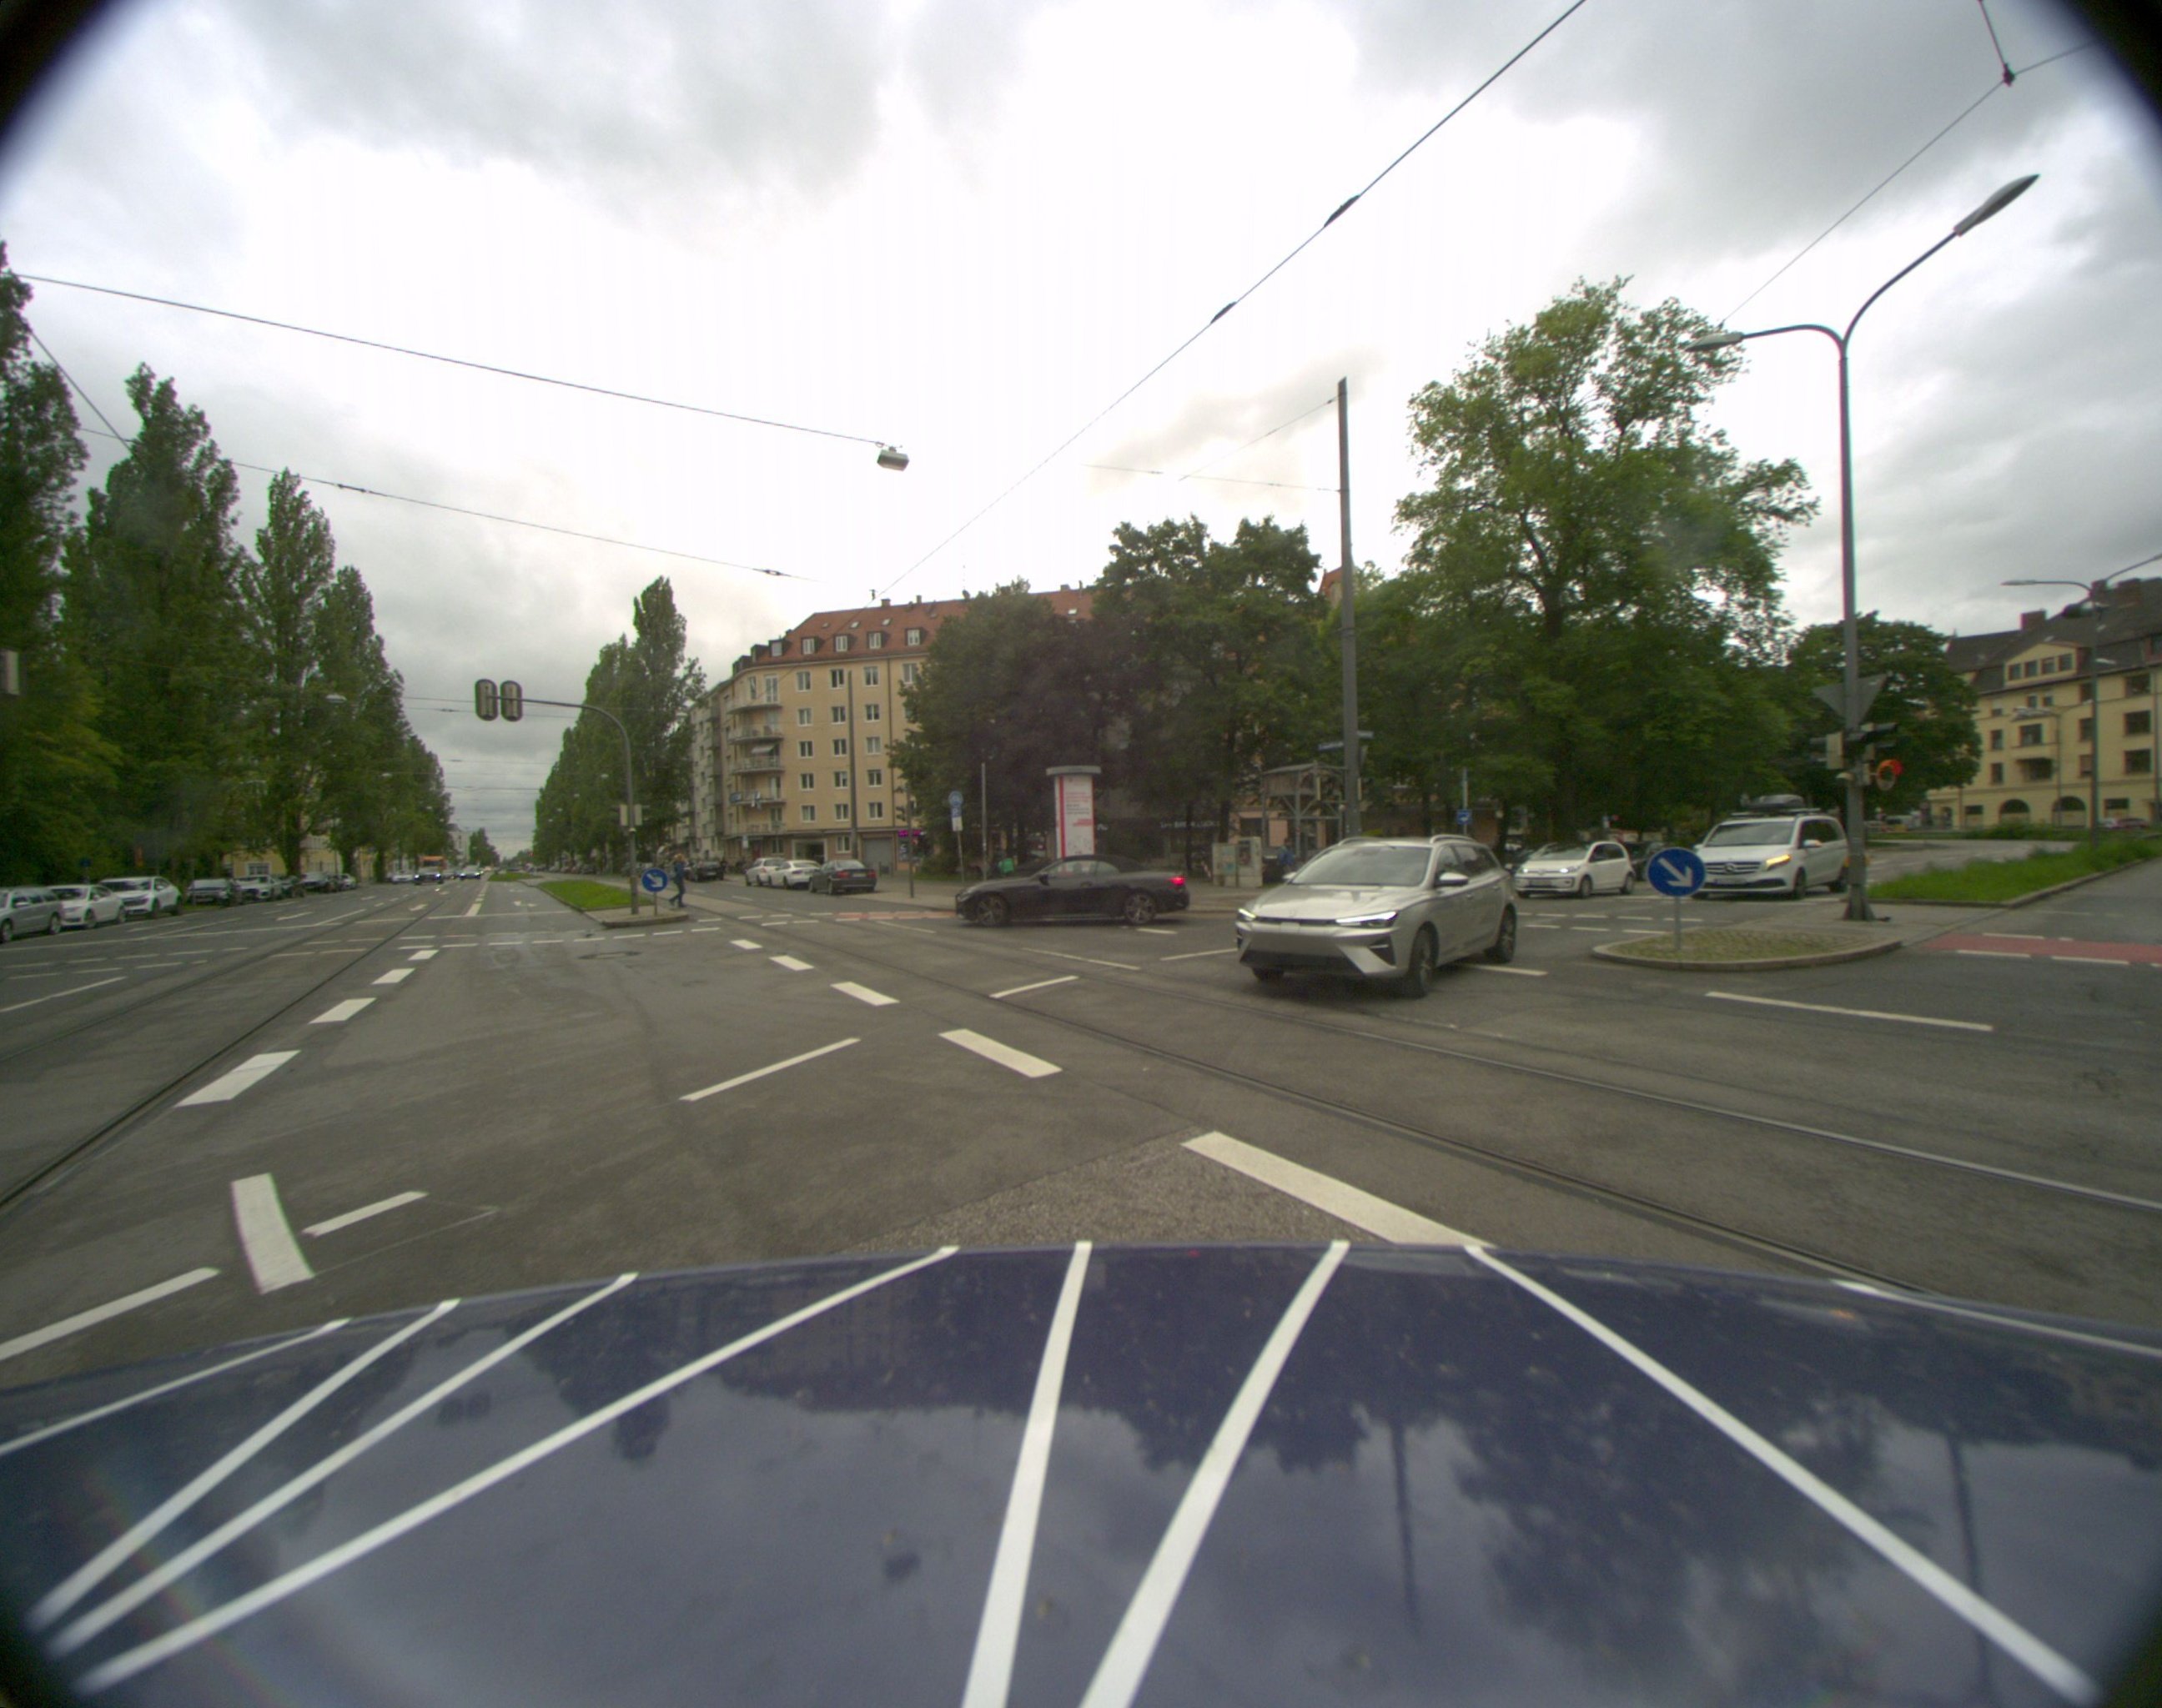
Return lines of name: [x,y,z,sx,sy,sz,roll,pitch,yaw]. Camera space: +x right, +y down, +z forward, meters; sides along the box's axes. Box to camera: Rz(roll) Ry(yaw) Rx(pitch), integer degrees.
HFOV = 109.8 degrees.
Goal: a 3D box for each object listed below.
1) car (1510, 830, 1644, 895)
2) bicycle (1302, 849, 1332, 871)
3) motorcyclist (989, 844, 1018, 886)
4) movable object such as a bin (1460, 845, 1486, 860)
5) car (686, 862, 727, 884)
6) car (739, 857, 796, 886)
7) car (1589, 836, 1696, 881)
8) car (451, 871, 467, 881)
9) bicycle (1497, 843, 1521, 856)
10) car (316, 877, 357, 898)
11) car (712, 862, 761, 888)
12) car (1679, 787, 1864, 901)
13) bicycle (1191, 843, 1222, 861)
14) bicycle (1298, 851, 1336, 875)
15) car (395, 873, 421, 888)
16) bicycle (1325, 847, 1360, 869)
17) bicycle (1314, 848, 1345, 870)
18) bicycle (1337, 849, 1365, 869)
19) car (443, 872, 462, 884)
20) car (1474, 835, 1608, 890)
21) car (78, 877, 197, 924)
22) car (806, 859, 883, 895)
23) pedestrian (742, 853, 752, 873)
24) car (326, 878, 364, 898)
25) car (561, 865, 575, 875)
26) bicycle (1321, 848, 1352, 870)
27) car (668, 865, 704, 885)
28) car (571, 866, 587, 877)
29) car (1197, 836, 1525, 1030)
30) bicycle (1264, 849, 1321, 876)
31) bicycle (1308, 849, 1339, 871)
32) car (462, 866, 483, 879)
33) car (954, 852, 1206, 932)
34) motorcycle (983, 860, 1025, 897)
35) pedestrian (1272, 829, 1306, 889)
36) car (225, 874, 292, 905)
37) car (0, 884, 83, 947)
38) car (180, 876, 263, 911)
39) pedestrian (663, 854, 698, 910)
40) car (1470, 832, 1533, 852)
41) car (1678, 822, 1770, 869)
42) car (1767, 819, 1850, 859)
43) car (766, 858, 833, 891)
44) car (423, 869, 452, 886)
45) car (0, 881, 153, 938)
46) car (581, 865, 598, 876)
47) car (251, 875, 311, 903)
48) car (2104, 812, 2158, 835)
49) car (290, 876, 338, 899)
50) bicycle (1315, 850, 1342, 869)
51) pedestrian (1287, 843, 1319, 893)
car: [13.314,0.187,20.301,4.216,1.515,1.772,-3,0,-39]
bicycle: [9.860,0.273,31.779,0.313,0.888,1.410,-3,0,-25]
motorcyclist: [-2.713,0.375,26.535,0.621,1.435,0.880,-4,2,-29]
movable object such as a bin: [23.948,-0.115,46.461,0.775,0.867,1.179,-2,1,-24]
car: [-25.831,1.266,52.360,1.734,1.399,4.463,-3,1,-37]
car: [-16.655,0.888,40.285,1.734,1.399,4.363,-3,1,-37]
car: [20.991,0.137,28.349,4.650,1.452,1.769,-2,1,-34]
car: [-104.163,3.654,127.179,1.790,1.477,4.128,-3,2,-37]
bicycle: [26.586,-0.257,47.202,1.177,0.719,0.319,-3,0,12]
car: [-60.812,2.696,62.115,1.790,1.477,4.128,-3,2,-37]
car: [-20.627,1.217,45.390,1.734,1.399,4.363,-3,1,-37]
car: [16.174,-0.280,17.725,4.952,2.338,1.909,-2,1,-32]
bicycle: [9.618,-0.144,58.204,2.246,1.282,0.507,-3,0,4]
bicycle: [9.439,0.360,30.380,1.412,0.888,0.313,-2,0,-7]
car: [-75.254,2.891,85.027,1.790,1.477,4.128,-3,2,-37]
bicycle: [11.309,0.193,32.883,1.409,0.888,0.314,-3,0,44]
bicycle: [10.495,0.237,32.102,0.313,0.888,1.410,-3,0,-25]
bicycle: [12.995,0.221,36.554,1.414,0.888,0.312,-3,0,-27]
car: [-86.558,3.300,104.695,1.790,1.477,4.128,-3,2,-37]
car: [15.045,0.228,24.809,4.561,1.540,1.832,-2,1,-31]
car: [-35.637,1.708,28.843,1.790,1.477,4.128,-3,2,-37]
car: [-9.655,0.880,30.851,1.734,1.308,3.989,-3,1,-37]
pedestrian: [-28.544,0.781,64.888,0.547,1.655,0.650,-4,0,-42]
car: [-63.729,2.894,65.834,1.790,1.477,4.128,-3,2,-37]
car: [-103.201,3.200,152.882,2.003,1.696,3.990,-3,0,-39]
bicycle: [10.833,0.218,32.299,0.313,0.888,1.410,-3,0,-25]
car: [-30.807,1.585,59.228,1.734,1.399,4.196,-3,1,-37]
car: [-84.568,2.897,128.063,1.821,1.707,3.990,-3,0,-39]
car: [3.256,0.637,8.306,1.771,1.515,4.216,-3,0,44]
bicycle: [8.659,0.378,31.203,0.632,1.010,2.234,-4,0,-43]
bicycle: [10.169,0.255,31.931,0.313,0.888,1.410,-3,0,-25]
car: [-74.986,2.223,93.668,1.790,1.477,4.128,-3,2,-37]
car: [0.009,0.736,15.453,4.794,1.381,1.729,-2,1,3]
motorcycle: [-2.729,0.827,26.615,0.631,1.163,2.024,-5,3,-30]
pedestrian: [5.966,0.134,21.789,0.546,1.652,0.719,-4,6,-33]
car: [-46.340,1.944,42.897,1.790,1.477,4.128,-3,2,-37]
car: [-29.113,1.666,20.191,1.789,1.477,4.341,-3,2,-34]
car: [-42.024,1.885,37.257,1.790,1.477,4.128,-3,2,-37]
pedestrian: [-12.098,0.827,22.979,0.551,1.653,0.702,-3,0,8]
car: [36.082,-1.036,65.307,1.863,1.458,4.435,-3,0,-23]
car: [27.170,-0.368,32.058,4.562,1.809,1.932,-2,1,-36]
car: [36.658,-0.768,38.268,5.032,1.846,1.845,-2,1,-32]
car: [-13.372,0.915,35.963,1.734,1.399,4.363,-3,1,-37]
car: [-62.480,2.228,73.826,1.790,1.477,4.128,-3,2,-37]
car: [-32.440,1.720,24.598,1.789,1.477,4.248,-3,2,-34]
car: [-77.538,2.578,119.828,1.821,1.461,3.990,-3,0,-39]
car: [-49.607,2.157,47.190,1.790,1.477,4.128,-3,2,-37]
car: [77.480,-2.216,56.058,4.947,1.628,2.105,-1,1,-33]
car: [-56.815,2.469,56.341,1.790,1.477,4.128,-3,2,-37]
bicycle: [12.375,0.263,37.981,1.414,0.888,0.312,-3,0,-27]
pedestrian: [6.462,0.383,22.113,0.546,1.397,0.719,-4,4,-33]
